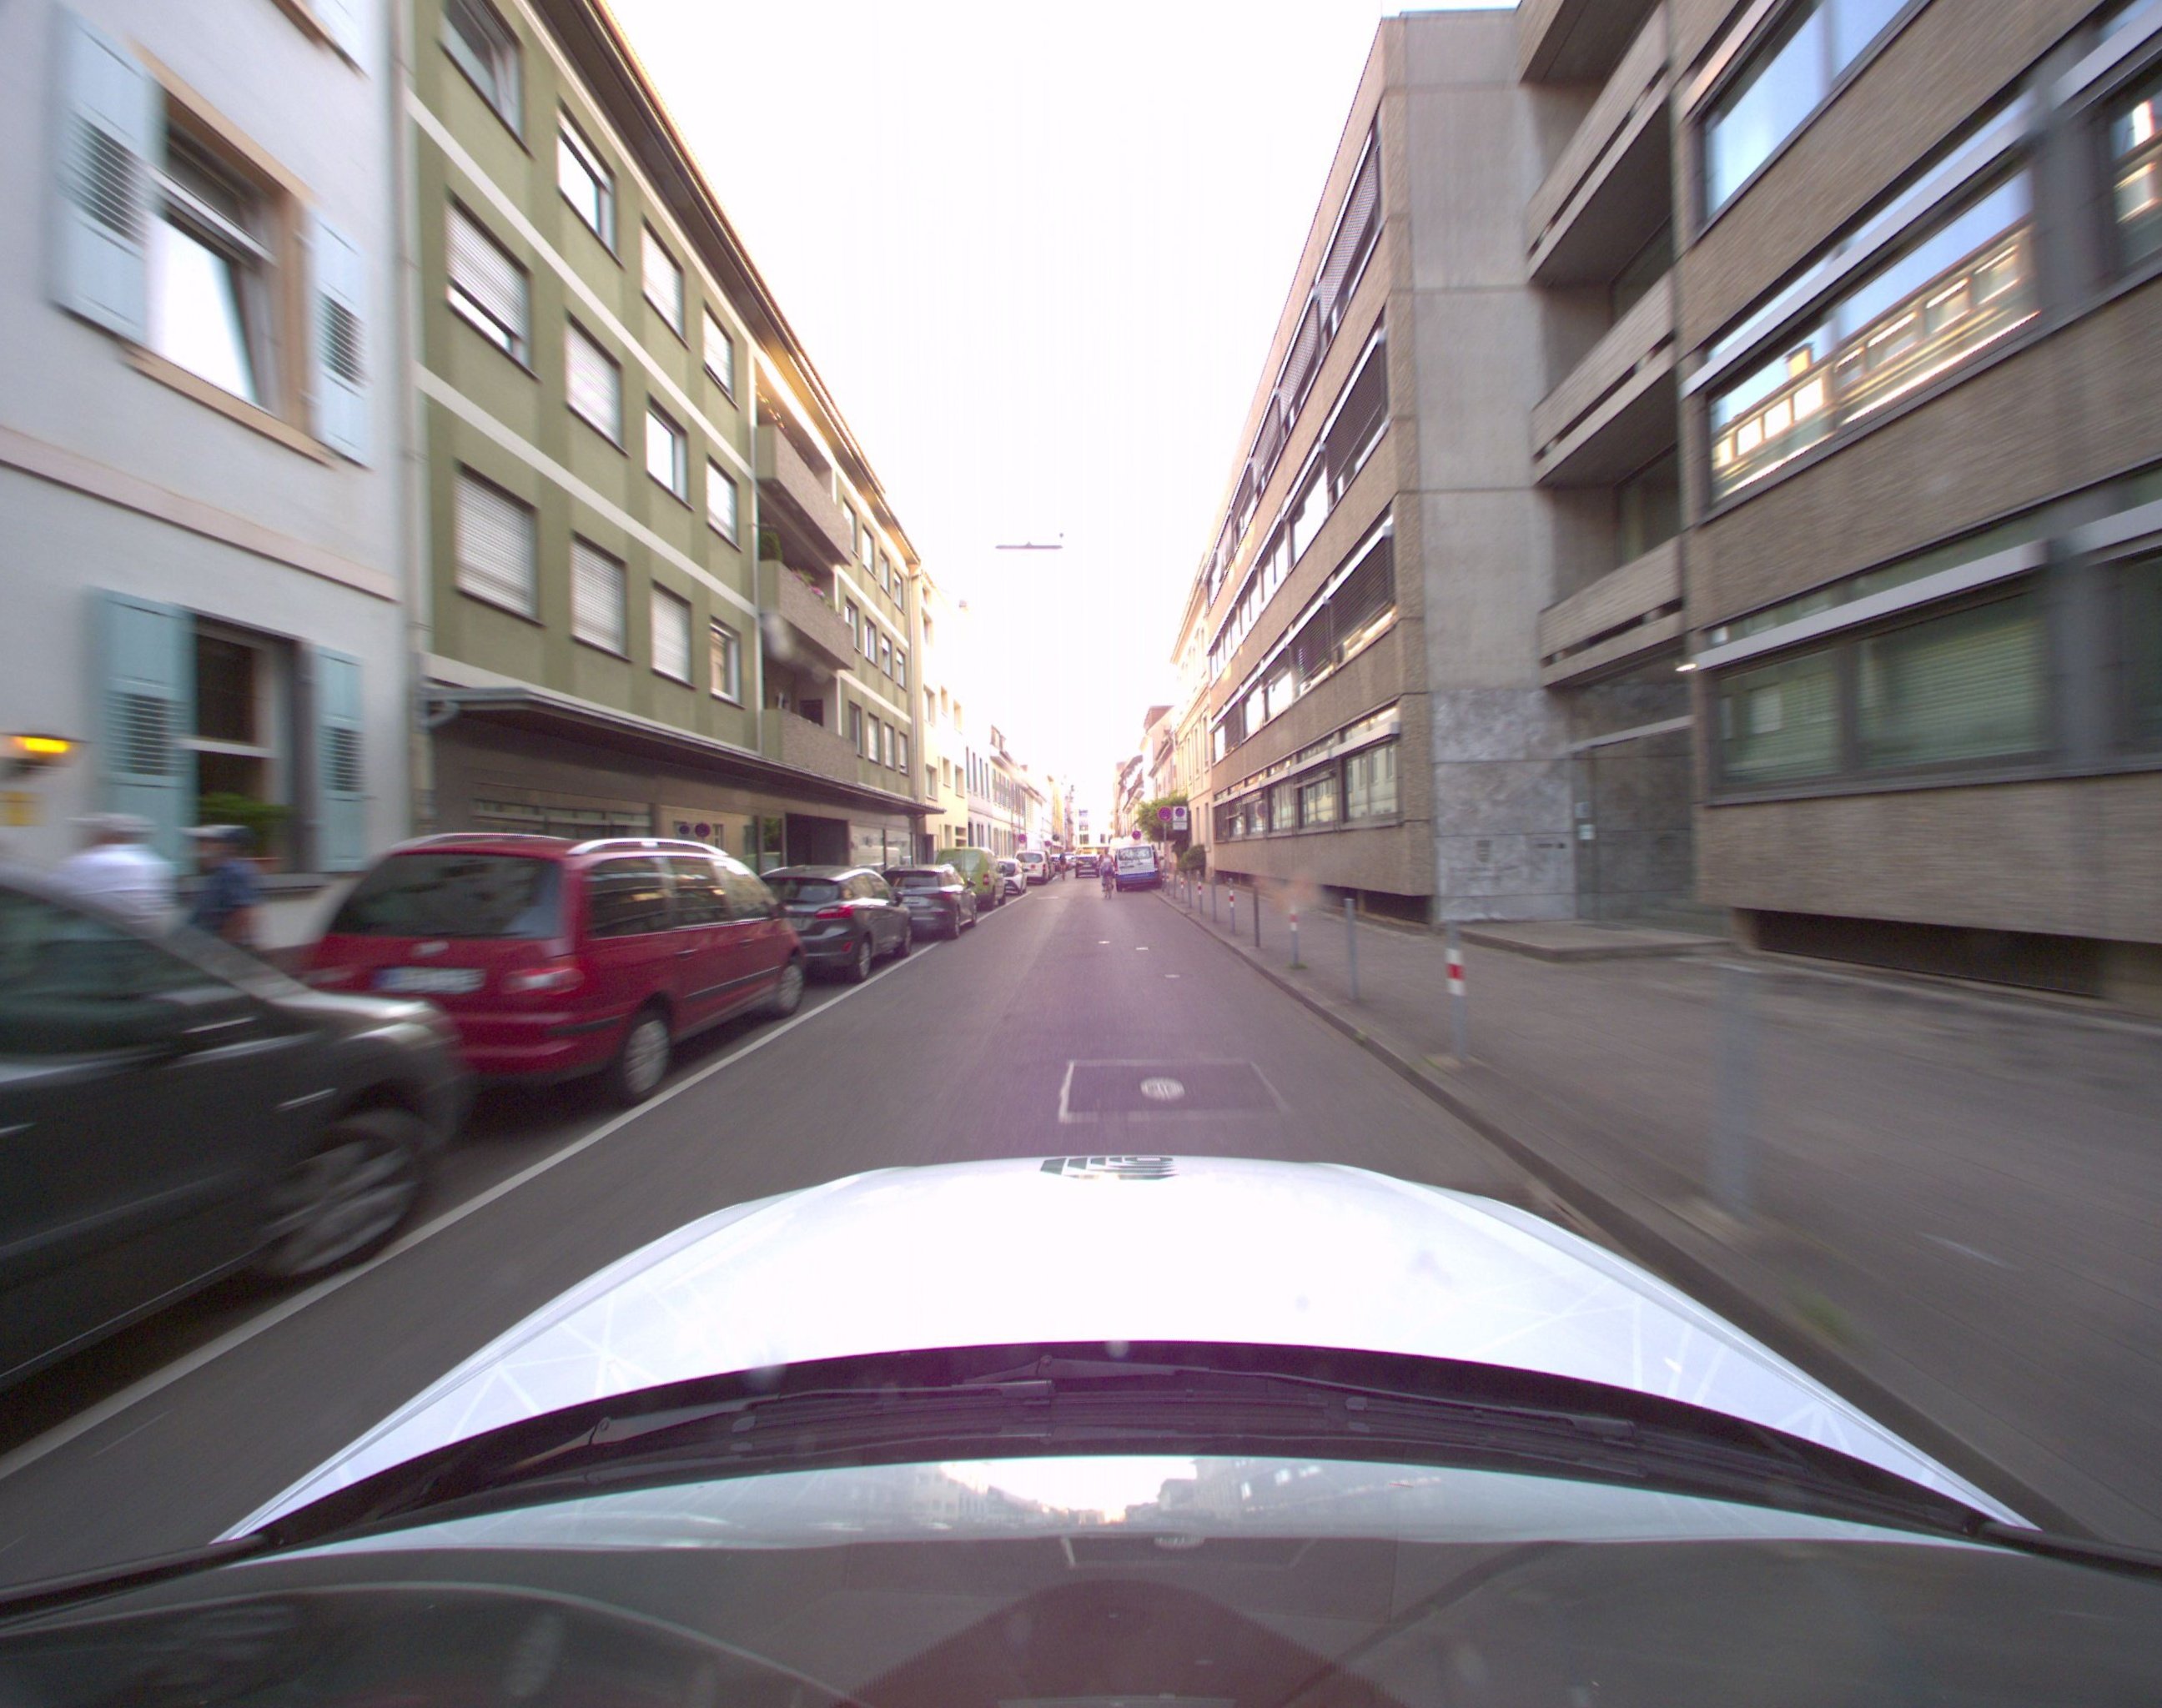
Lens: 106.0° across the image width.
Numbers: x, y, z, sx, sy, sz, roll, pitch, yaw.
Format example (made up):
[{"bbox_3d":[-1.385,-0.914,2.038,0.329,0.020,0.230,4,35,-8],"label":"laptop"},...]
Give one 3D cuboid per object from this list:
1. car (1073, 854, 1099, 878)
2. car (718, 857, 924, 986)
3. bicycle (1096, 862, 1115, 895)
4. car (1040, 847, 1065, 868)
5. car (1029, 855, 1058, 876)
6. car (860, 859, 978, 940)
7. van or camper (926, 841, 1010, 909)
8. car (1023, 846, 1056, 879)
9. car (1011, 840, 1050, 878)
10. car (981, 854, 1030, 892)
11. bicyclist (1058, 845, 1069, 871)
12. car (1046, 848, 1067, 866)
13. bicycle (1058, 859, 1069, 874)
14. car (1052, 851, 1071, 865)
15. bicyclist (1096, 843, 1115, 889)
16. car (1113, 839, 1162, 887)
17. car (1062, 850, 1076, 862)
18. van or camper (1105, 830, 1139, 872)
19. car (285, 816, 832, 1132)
[{"bbox_3d":[0.366,0.811,57.225,1.813,1.618,4.000,0,0,1],"label":"car"},{"bbox_3d":[-3.519,0.818,11.789,1.618,1.485,3.879,-2,0,1],"label":"car"},{"bbox_3d":[0.874,0.847,28.770,0.611,1.082,1.810,-1,0,2],"label":"bicycle"},{"bbox_3d":[-2.451,0.268,71.092,1.795,1.676,4.493,-2,0,3],"label":"car"},{"bbox_3d":[-2.766,0.822,60.494,1.758,1.401,4.264,-1,0,2],"label":"car"},{"bbox_3d":[-3.175,0.827,16.724,1.619,1.416,3.980,-1,0,0],"label":"car"},{"bbox_3d":[-3.344,0.580,24.813,1.765,1.848,4.180,-2,0,2],"label":"van or camper"},{"bbox_3d":[-2.686,0.501,53.511,1.856,2.013,4.813,-2,0,0],"label":"car"},{"bbox_3d":[-2.862,0.277,47.040,1.856,2.013,5.105,-2,0,0],"label":"car"},{"bbox_3d":[-3.118,0.753,34.148,1.656,1.449,3.521,2,0,1],"label":"car"},{"bbox_3d":[-1.109,0.260,52.228,0.621,1.639,1.082,-1,0,1],"label":"bicyclist"},{"bbox_3d":[-2.488,0.306,82.348,1.991,1.707,4.535,0,0,0],"label":"car"},{"bbox_3d":[-1.118,0.813,52.206,0.631,0.922,1.780,-1,0,1],"label":"bicycle"},{"bbox_3d":[-2.090,0.423,88.731,1.912,1.434,4.292,0,0,-1],"label":"car"},{"bbox_3d":[0.864,0.423,28.803,0.618,1.574,0.684,-1,0,2],"label":"bicyclist"},{"bbox_3d":[2.476,0.347,35.713,1.927,1.897,5.282,-2,0,4],"label":"car"},{"bbox_3d":[-1.536,0.256,105.276,1.647,1.561,3.607,0,0,1],"label":"car"},{"bbox_3d":[2.764,-0.220,55.812,2.042,2.637,7.066,-2,0,2],"label":"van or camper"},{"bbox_3d":[-3.732,0.688,7.007,1.767,1.811,4.510,-1,0,0],"label":"car"}]
